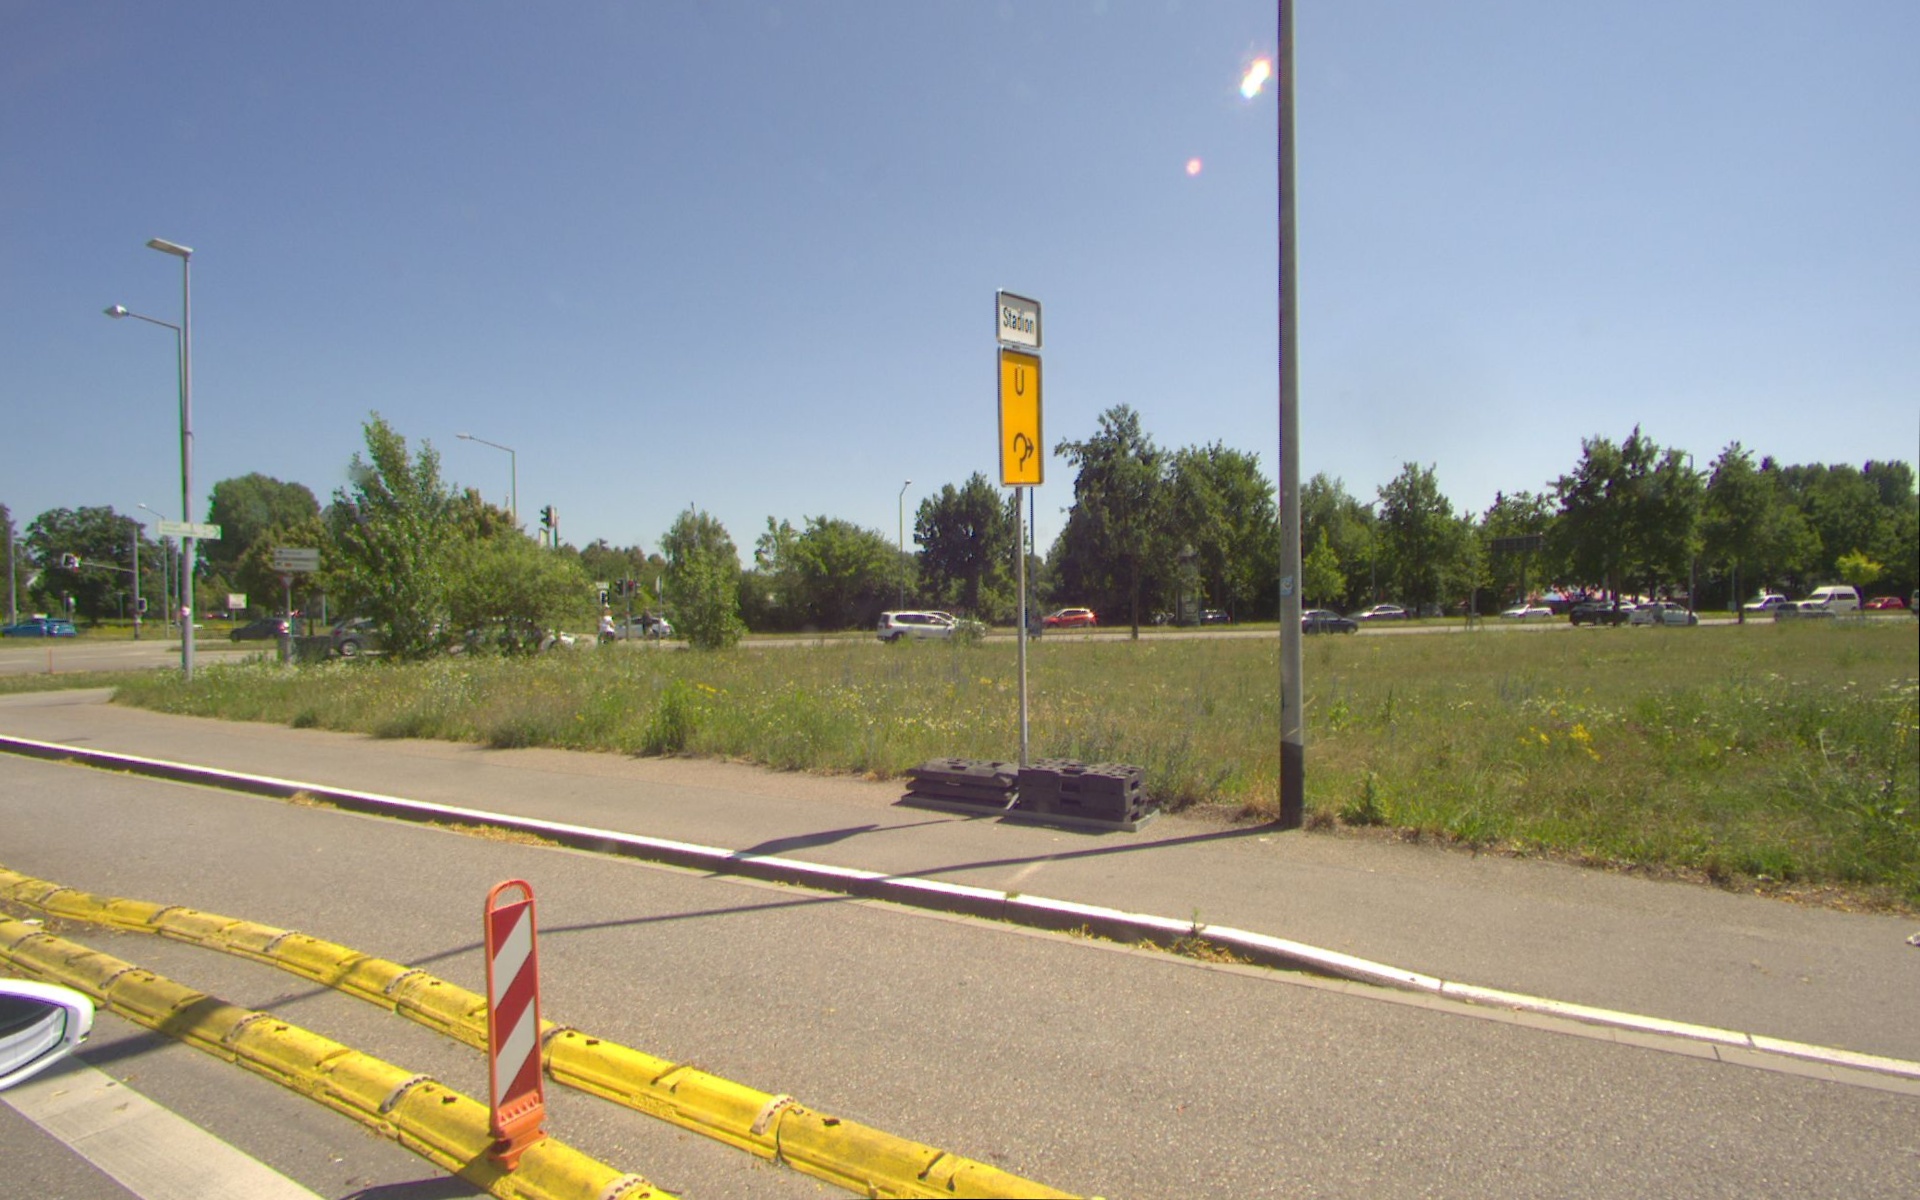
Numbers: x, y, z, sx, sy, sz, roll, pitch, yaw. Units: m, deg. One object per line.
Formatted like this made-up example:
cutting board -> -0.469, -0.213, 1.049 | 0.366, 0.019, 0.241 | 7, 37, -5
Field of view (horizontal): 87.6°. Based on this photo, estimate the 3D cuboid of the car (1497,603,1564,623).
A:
car -> 46.417, 1.038, 81.485 | 4.696, 1.590, 1.997 | 0, -1, -15

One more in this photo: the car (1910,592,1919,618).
car -> 73.970, 0.368, 74.924 | 4.897, 1.874, 1.997 | 0, -1, -16

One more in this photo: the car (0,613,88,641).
car -> -61.782, 1.804, 67.553 | 3.925, 1.861, 1.999 | 0, -1, -11

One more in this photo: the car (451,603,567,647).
car -> -17.476, 0.974, 38.844 | 3.955, 1.641, 1.672 | 1, -1, -30

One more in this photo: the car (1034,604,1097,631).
car -> 6.984, 1.183, 66.478 | 3.690, 1.739, 1.998 | 0, -1, -13

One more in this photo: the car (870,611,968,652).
car -> -1.920, 1.443, 46.671 | 4.189, 1.839, 1.996 | 0, -1, -18

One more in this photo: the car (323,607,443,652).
car -> -23.029, 1.149, 40.028 | 3.949, 1.517, 1.635 | -4, 2, -37

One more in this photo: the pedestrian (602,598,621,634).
pedestrian -> -18.429, 0.839, 52.946 | 0.726, 1.894, 0.648 | -1, -1, 34

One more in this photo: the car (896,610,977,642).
car -> -1.236, 1.358, 52.608 | 3.928, 1.605, 1.837 | 0, -1, -15

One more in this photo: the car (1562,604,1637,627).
car -> 40.550, 0.985, 63.539 | 3.931, 1.425, 1.996 | 0, -1, -19

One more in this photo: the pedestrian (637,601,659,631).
pedestrian -> -16.597, 0.837, 53.243 | 0.811, 1.583, 0.790 | -1, -1, 33

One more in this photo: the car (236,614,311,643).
car -> -38.911, 1.597, 56.831 | 3.174, 1.627, 1.646 | 0, -1, -22

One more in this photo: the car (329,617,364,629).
car -> -88.291, 3.319, 144.183 | 1.964, 1.736, 3.996 | 0, -1, 16

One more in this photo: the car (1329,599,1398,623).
car -> 29.377, 0.820, 72.954 | 4.298, 1.739, 1.998 | 0, -1, -13

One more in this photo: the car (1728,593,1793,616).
car -> 71.580, 0.393, 89.585 | 4.993, 2.040, 1.997 | 0, -1, -15

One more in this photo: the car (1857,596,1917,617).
car -> 86.106, 0.641, 93.041 | 4.522, 1.874, 1.997 | 0, -1, -16

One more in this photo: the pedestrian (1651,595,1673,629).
pedestrian -> 33.223, 0.572, 47.402 | 0.724, 1.583, 0.497 | 0, 0, -18

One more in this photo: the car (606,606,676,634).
car -> -20.081, 1.264, 63.131 | 3.923, 1.750, 1.738 | 0, -1, -6

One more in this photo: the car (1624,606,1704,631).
car -> 41.700, 1.091, 59.358 | 3.946, 1.463, 1.632 | 0, -1, -11

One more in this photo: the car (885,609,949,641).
car -> -2.909, 1.664, 66.885 | 3.928, 2.040, 1.997 | 0, -1, -15

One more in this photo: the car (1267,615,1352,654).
car -> 18.780, 1.824, 53.874 | 3.929, 2.040, 1.997 | 0, -1, -17

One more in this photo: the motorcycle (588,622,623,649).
motorcycle -> -13.153, 1.318, 37.202 | 0.619, 0.982, 1.709 | 0, -1, 3

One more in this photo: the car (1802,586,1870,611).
car -> 75.627, -0.115, 86.434 | 4.993, 2.040, 1.997 | 0, -1, -15

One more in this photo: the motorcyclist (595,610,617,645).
motorcyclist -> -13.178, 1.028, 37.248 | 0.570, 1.306, 0.615 | 0, -1, 3

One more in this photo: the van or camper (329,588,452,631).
van or camper -> -37.081, 0.666, 65.234 | 7.375, 2.728, 2.511 | -1, -1, 15

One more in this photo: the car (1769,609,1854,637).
car -> 53.757, 1.433, 63.239 | 4.855, 1.727, 1.995 | 0, -1, -20
